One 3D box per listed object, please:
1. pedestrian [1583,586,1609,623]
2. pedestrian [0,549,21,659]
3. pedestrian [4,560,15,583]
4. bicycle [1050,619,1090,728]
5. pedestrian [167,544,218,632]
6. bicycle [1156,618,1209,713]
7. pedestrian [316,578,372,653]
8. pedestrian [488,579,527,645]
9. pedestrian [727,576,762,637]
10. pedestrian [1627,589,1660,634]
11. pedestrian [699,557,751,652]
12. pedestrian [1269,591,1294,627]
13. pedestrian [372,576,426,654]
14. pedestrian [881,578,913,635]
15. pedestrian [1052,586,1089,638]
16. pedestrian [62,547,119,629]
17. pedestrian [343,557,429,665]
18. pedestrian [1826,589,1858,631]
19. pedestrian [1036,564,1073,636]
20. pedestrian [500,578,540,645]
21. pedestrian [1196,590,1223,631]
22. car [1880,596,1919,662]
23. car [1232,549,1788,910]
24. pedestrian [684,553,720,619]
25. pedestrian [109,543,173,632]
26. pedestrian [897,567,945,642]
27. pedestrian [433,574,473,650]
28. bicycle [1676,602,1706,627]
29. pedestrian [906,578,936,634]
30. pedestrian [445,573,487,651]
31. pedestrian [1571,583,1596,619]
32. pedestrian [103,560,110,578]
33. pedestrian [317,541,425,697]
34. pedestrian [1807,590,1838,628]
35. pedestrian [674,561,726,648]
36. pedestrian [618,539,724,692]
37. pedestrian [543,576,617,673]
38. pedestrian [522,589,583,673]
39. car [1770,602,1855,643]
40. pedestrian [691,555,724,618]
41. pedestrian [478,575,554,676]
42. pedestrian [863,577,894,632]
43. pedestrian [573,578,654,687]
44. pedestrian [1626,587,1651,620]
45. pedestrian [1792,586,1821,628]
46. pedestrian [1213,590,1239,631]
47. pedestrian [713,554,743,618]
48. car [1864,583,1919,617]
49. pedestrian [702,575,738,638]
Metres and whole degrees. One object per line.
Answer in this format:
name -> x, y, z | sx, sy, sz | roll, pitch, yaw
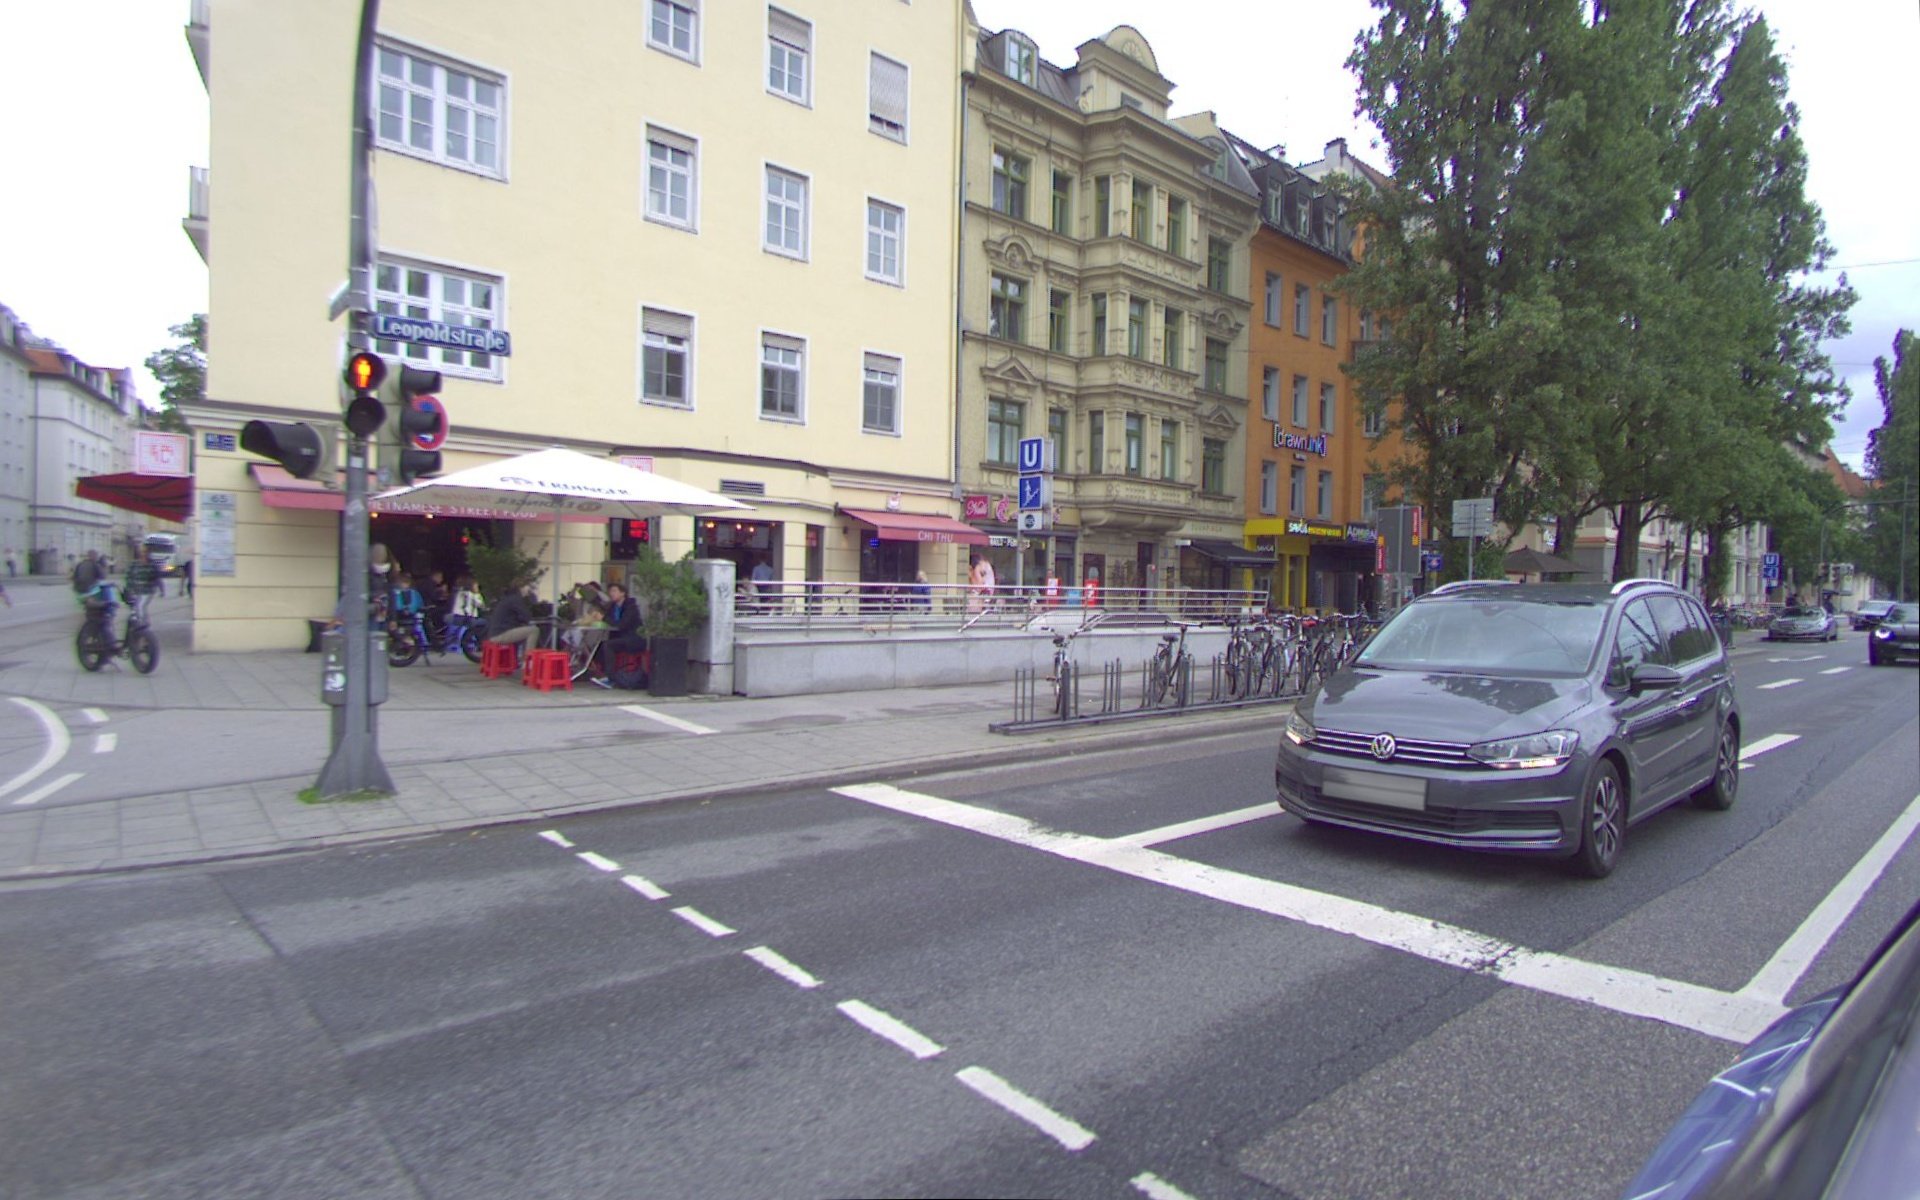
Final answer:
pedestrian -> 30.062, 0.212, 47.825 | 0.999, 1.706, 0.747 | 1, 1, -41
pedestrian -> -14.405, 0.041, 14.891 | 0.753, 1.605, 0.760 | 1, 1, -36
pedestrian -> -58.893, -1.767, 62.720 | 0.402, 1.375, 0.450 | 1, 1, -33
bicycle -> 1.213, 0.775, 11.345 | 0.342, 1.008, 1.841 | 2, 2, 4
pedestrian -> -15.231, -0.242, 20.109 | 0.690, 1.704, 0.854 | 1, 1, -30
bicycle -> 2.782, 0.780, 12.771 | 0.342, 1.008, 1.841 | 2, 2, 4
pedestrian -> -10.117, 0.244, 16.626 | 0.691, 1.197, 0.515 | 1, 1, -42
pedestrian -> -8.275, 0.207, 18.506 | 0.518, 1.180, 0.479 | 1, 1, -42
pedestrian -> -4.689, 0.140, 22.007 | 0.542, 1.305, 0.542 | 1, 1, -40
pedestrian -> 24.275, 0.408, 35.951 | 0.749, 1.582, 0.761 | 1, 0, -39
pedestrian -> -4.191, 0.064, 18.045 | 0.666, 1.653, 0.616 | 1, 1, -40
pedestrian -> 11.406, 0.311, 35.863 | 0.573, 1.233, 0.623 | 1, 1, -41
pedestrian -> -9.581, 0.247, 17.290 | 0.691, 1.308, 0.515 | 1, 1, -42
pedestrian -> -1.478, 0.141, 23.803 | 0.542, 1.305, 0.496 | 1, 1, -40
pedestrian -> 2.684, 0.282, 24.633 | 0.654, 1.237, 0.601 | 1, 1, -40
pedestrian -> -17.960, -0.250, 20.917 | 0.752, 1.663, 0.761 | 1, 1, -30
pedestrian -> -8.593, 0.151, 15.158 | 0.727, 1.560, 0.880 | 2, 1, 35
pedestrian -> 39.332, 0.442, 45.130 | 0.741, 1.824, 0.883 | 2, 0, -30
pedestrian -> 2.338, -0.007, 25.012 | 0.654, 1.761, 0.601 | 1, 1, -40
pedestrian -> -7.883, 0.203, 18.144 | 0.518, 1.180, 0.479 | 1, 1, -42
pedestrian -> 8.062, 0.333, 32.724 | 0.573, 1.296, 0.584 | 1, 1, -41
car -> 23.993, 0.672, 24.752 | 3.901, 1.523, 1.778 | 0, 0, -41
car -> 3.951, 0.591, 6.859 | 4.625, 1.668, 1.775 | 0, 0, -40
pedestrian -> -5.660, -0.313, 22.220 | 0.536, 1.414, 0.548 | 1, 1, 23
pedestrian -> -16.136, -0.245, 19.966 | 0.822, 1.704, 1.041 | 1, 1, -30
pedestrian -> -0.878, 0.083, 22.862 | 0.772, 1.653, 0.711 | 1, 1, -40
pedestrian -> -8.991, 0.209, 17.945 | 0.518, 1.315, 0.479 | 1, 1, -42
bicycle -> 29.160, 0.561, 40.359 | 1.624, 0.977, 0.590 | 0, 1, -41
pedestrian -> -0.959, 0.151, 24.977 | 0.542, 1.349, 0.496 | 1, 1, -40
pedestrian -> -8.548, 0.201, 17.511 | 0.518, 1.315, 0.479 | 1, 1, -42
pedestrian -> 30.510, 0.026, 49.498 | 0.999, 1.735, 0.747 | 1, 1, -41
pedestrian -> -74.035, -2.664, 87.808 | 0.402, 1.529, 0.450 | 1, 1, -33
pedestrian -> -6.742, 0.194, 11.601 | 0.752, 1.716, 0.762 | 2, 1, 24
pedestrian -> 38.264, 0.401, 44.894 | 0.743, 1.658, 0.700 | 1, 0, 6
pedestrian -> -4.413, 0.059, 17.178 | 0.606, 1.440, 0.677 | 1, 1, -40
pedestrian -> -3.487, 0.161, 12.233 | 0.878, 1.765, 0.848 | 2, 1, 33
pedestrian -> -5.396, 0.332, 14.369 | 0.782, 1.328, 0.679 | 0, 1, -40
pedestrian -> -6.186, 0.457, 15.369 | 0.688, 1.218, 0.627 | 0, 1, -40
car -> 33.371, 0.827, 39.573 | 4.453, 1.458, 1.996 | 0, 1, -43
pedestrian -> -5.771, -0.315, 23.128 | 0.542, 1.414, 0.542 | 0, 1, -40
pedestrian -> -6.059, 0.330, 13.800 | 0.782, 1.328, 0.679 | 0, 1, -40
pedestrian -> -1.970, 0.095, 24.502 | 0.542, 1.305, 0.496 | 1, 1, -40
pedestrian -> -4.426, 0.395, 12.916 | 0.782, 1.327, 0.679 | 0, 1, -40
pedestrian -> 33.681, 0.169, 50.225 | 0.808, 1.622, 0.848 | 1, 1, -41
pedestrian -> 37.542, 0.305, 44.900 | 0.638, 1.803, 0.702 | 1, 0, -7
pedestrian -> 8.734, 0.337, 33.206 | 0.573, 1.296, 0.584 | 1, 1, -41
pedestrian -> -5.189, -0.309, 22.636 | 0.479, 1.414, 0.511 | 1, 1, -35
car -> 49.693, -0.006, 53.986 | 4.425, 1.681, 1.735 | 0, 1, -42
pedestrian -> -5.101, 0.138, 21.525 | 0.542, 1.305, 0.542 | 1, 1, -40
